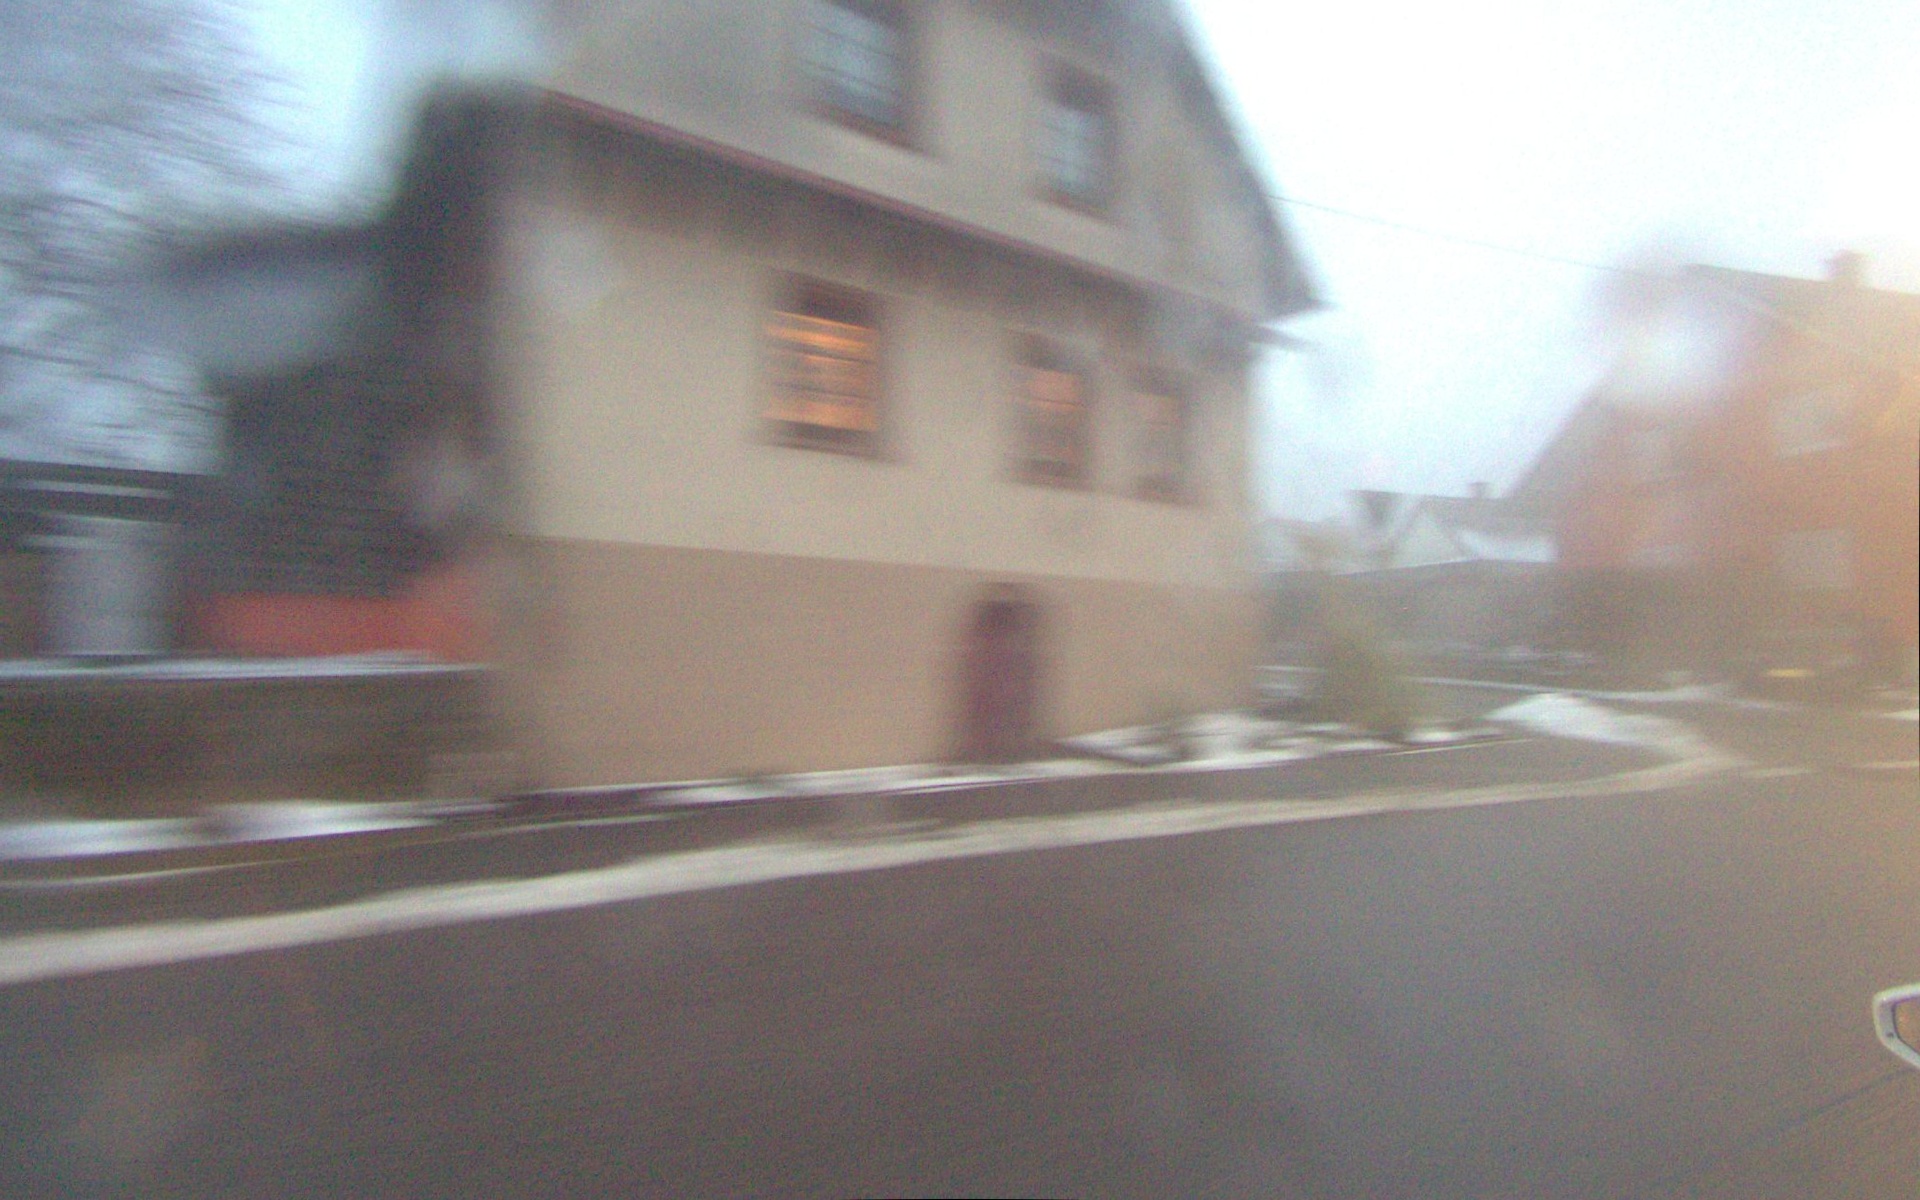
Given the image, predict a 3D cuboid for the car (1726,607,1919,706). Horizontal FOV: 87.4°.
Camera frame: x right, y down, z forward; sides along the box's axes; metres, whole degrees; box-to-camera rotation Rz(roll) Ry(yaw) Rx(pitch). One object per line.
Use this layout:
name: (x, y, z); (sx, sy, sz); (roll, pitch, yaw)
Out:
car: (15.176, 0.965, 17.611); (3.965, 1.524, 1.859); (3, -1, -38)
